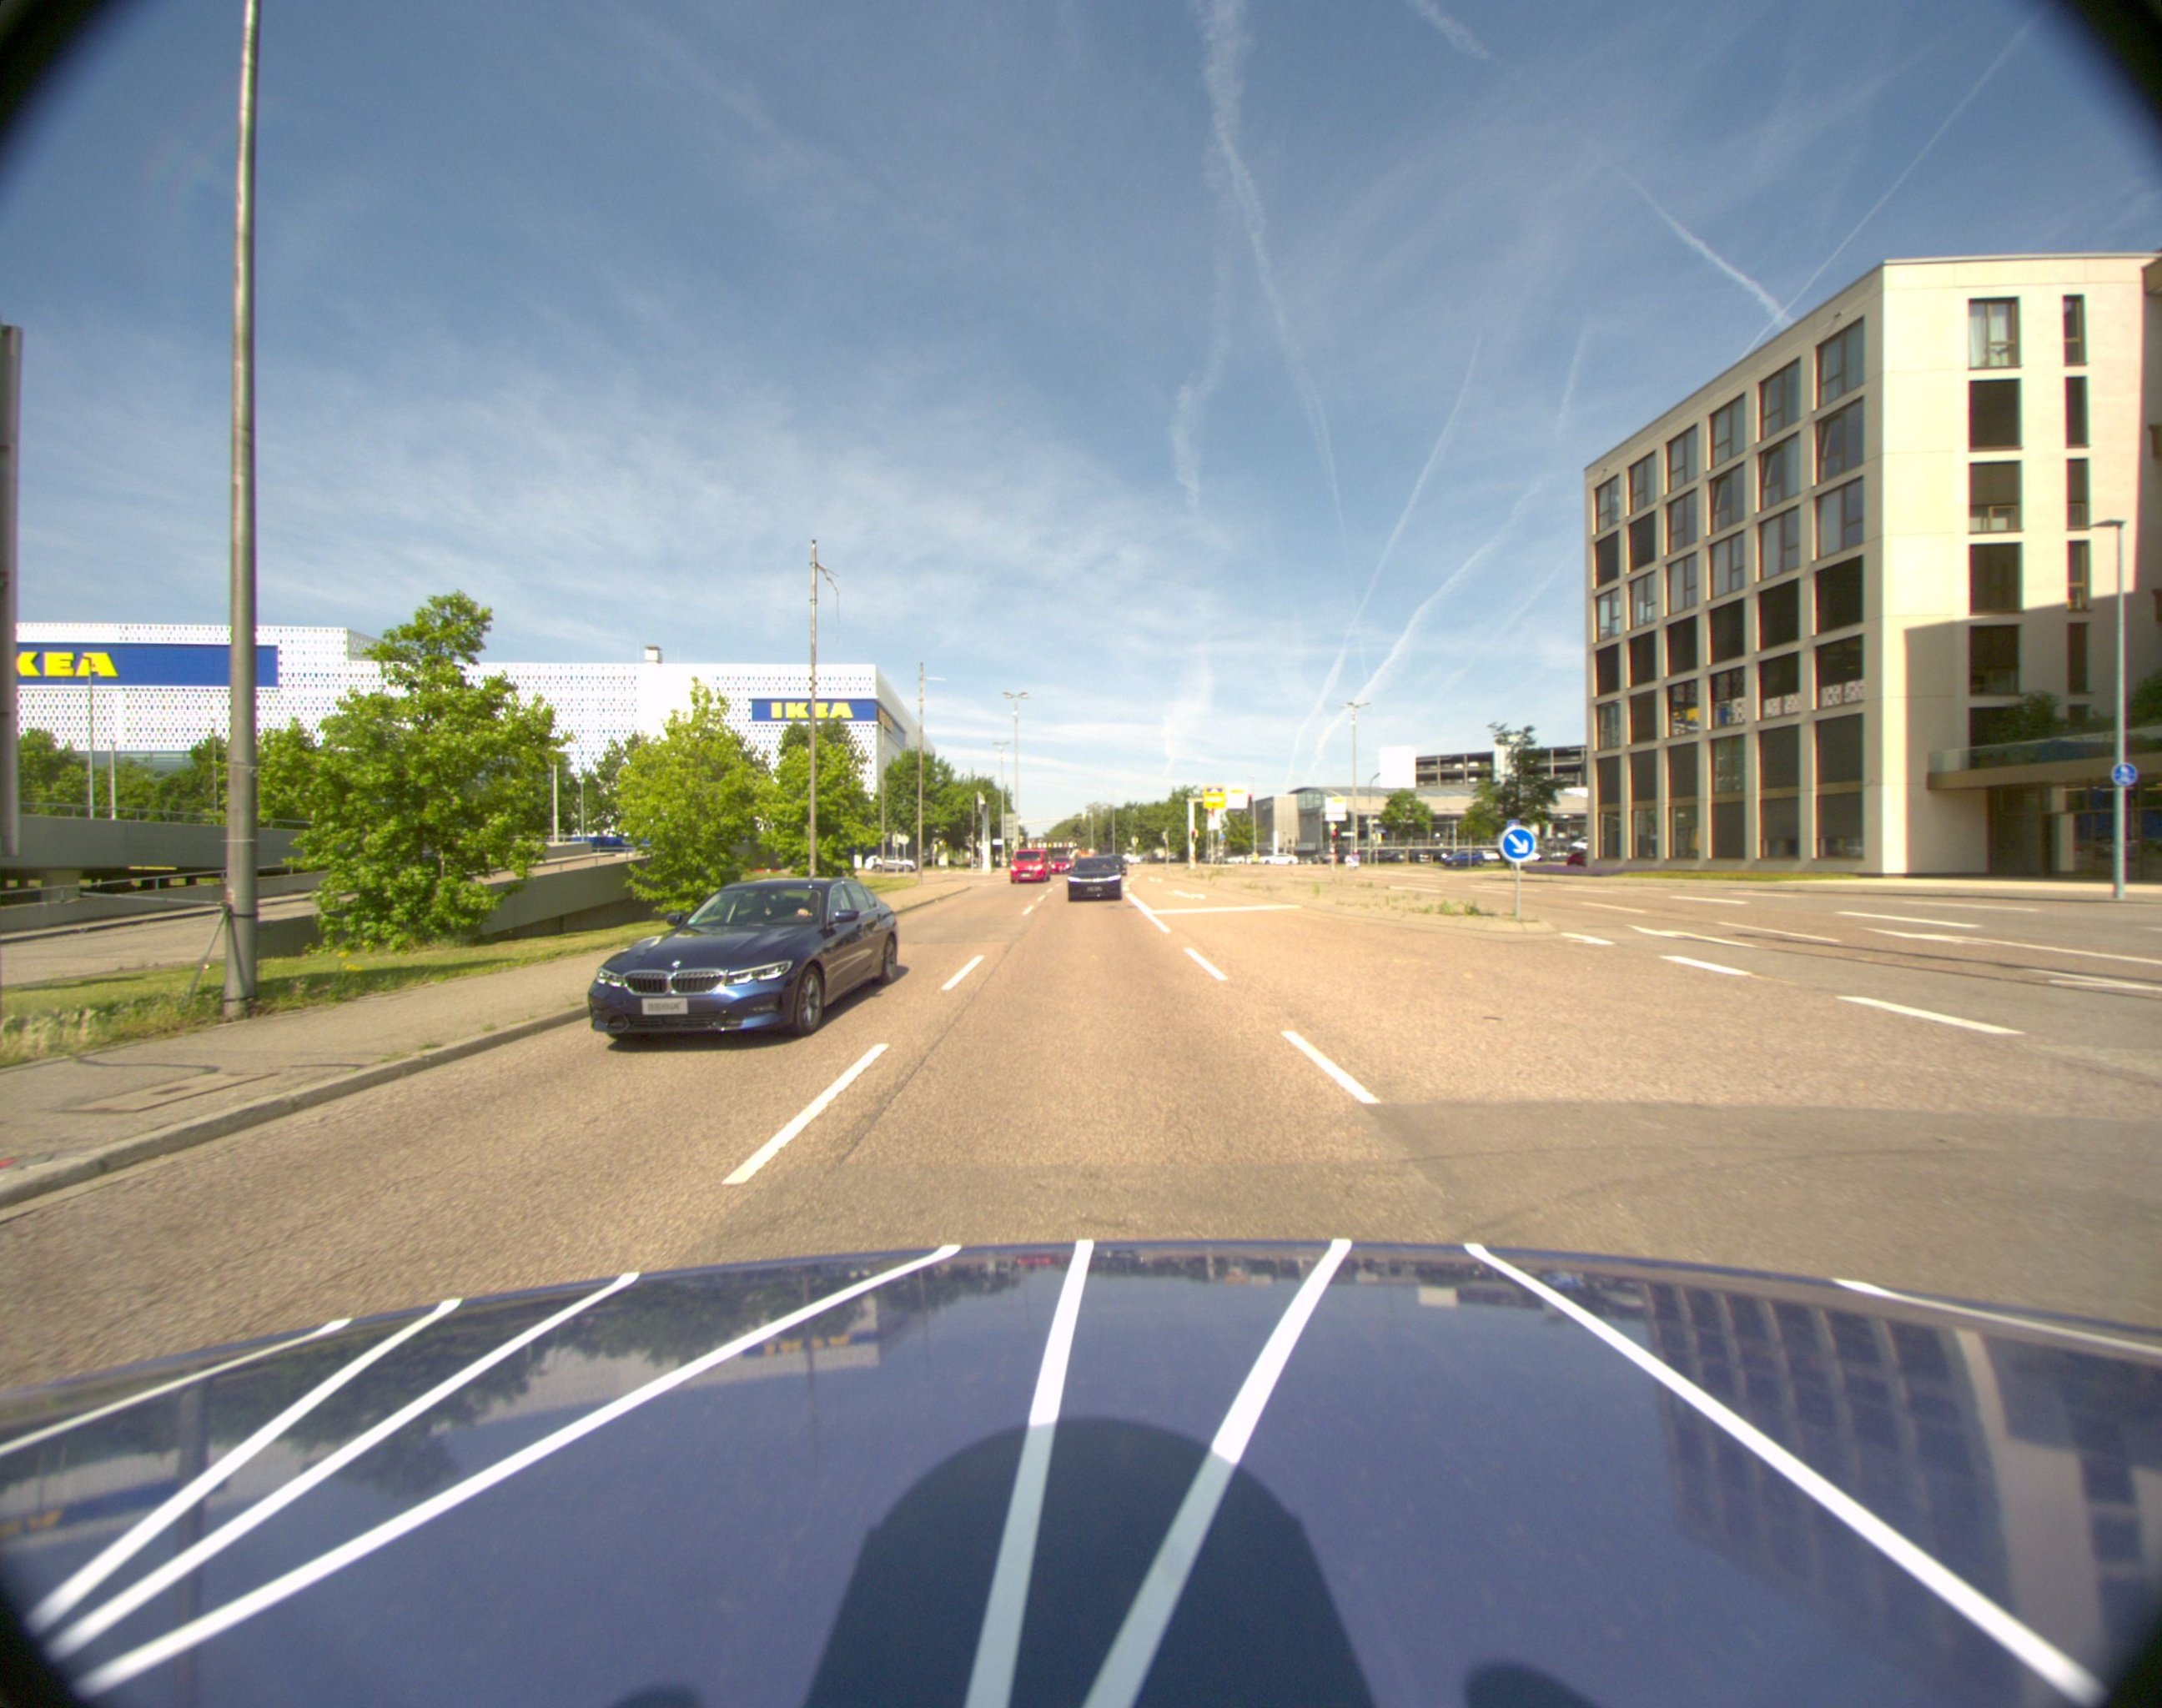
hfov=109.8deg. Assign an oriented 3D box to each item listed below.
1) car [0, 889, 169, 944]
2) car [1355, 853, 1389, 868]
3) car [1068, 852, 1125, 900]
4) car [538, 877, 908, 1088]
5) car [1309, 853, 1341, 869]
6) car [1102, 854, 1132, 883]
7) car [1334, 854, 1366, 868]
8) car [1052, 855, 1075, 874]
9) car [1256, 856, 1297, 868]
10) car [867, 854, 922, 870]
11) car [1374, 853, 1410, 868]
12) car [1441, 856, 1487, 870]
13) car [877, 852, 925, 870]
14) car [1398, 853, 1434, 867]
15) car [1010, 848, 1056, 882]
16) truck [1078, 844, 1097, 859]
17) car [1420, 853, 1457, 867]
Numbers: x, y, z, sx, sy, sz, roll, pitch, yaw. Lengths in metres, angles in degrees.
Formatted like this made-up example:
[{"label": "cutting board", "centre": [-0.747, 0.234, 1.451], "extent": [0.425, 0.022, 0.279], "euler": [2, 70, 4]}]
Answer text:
[{"label": "car", "centre": [-32.717, 1.998, 24.425], "extent": [4.125, 1.514, 1.798], "euler": [-2, 0, -9]}, {"label": "car", "centre": [33.394, 0.785, 87.276], "extent": [1.793, 1.534, 4.375], "euler": [0, -2, -5]}, {"label": "car", "centre": [0.520, 0.723, 26.876], "extent": [1.847, 1.530, 4.000], "euler": [-1, 0, 0]}, {"label": "car", "centre": [-3.334, 1.084, 8.256], "extent": [1.800, 1.421, 4.537], "euler": [-2, 1, 0]}, {"label": "car", "centre": [27.889, 0.821, 86.992], "extent": [1.819, 1.603, 4.595], "euler": [0, -3, -4]}, {"label": "car", "centre": [2.584, 1.004, 54.015], "extent": [1.966, 1.896, 4.662], "euler": [-1, 0, 4]}, {"label": "car", "centre": [30.612, 0.864, 86.669], "extent": [1.793, 1.433, 4.200], "euler": [0, -2, -5]}, {"label": "car", "centre": [-1.344, 0.787, 59.695], "extent": [1.692, 1.414, 3.915], "euler": [-2, 0, 0]}, {"label": "car", "centre": [23.322, 0.978, 90.729], "extent": [4.385, 1.424, 1.899], "euler": [-1, 0, -3]}, {"label": "car", "centre": [-17.378, 0.707, 70.965], "extent": [4.729, 1.417, 1.958], "euler": [-1, 1, -1]}, {"label": "car", "centre": [35.897, 0.771, 87.902], "extent": [1.793, 1.496, 4.777], "euler": [0, -2, -5]}, {"label": "car", "centre": [38.435, 0.905, 76.378], "extent": [3.800, 1.282, 1.660], "euler": [-1, 1, 3]}, {"label": "car", "centre": [-16.073, 0.640, 67.964], "extent": [3.894, 1.549, 1.808], "euler": [-1, 0, 0]}, {"label": "car", "centre": [38.752, 0.719, 87.969], "extent": [1.783, 1.507, 4.674], "euler": [0, -2, -5]}, {"label": "car", "centre": [-2.797, 0.611, 45.237], "extent": [2.013, 1.896, 4.812], "euler": [-1, 0, 5]}, {"label": "truck", "centre": [1.509, -0.581, 180.851], "extent": [2.756, 3.658, 7.571], "euler": [-1, 0, -11]}, {"label": "car", "centre": [41.361, 0.712, 88.056], "extent": [1.793, 1.433, 4.631], "euler": [0, -2, -5]}]
